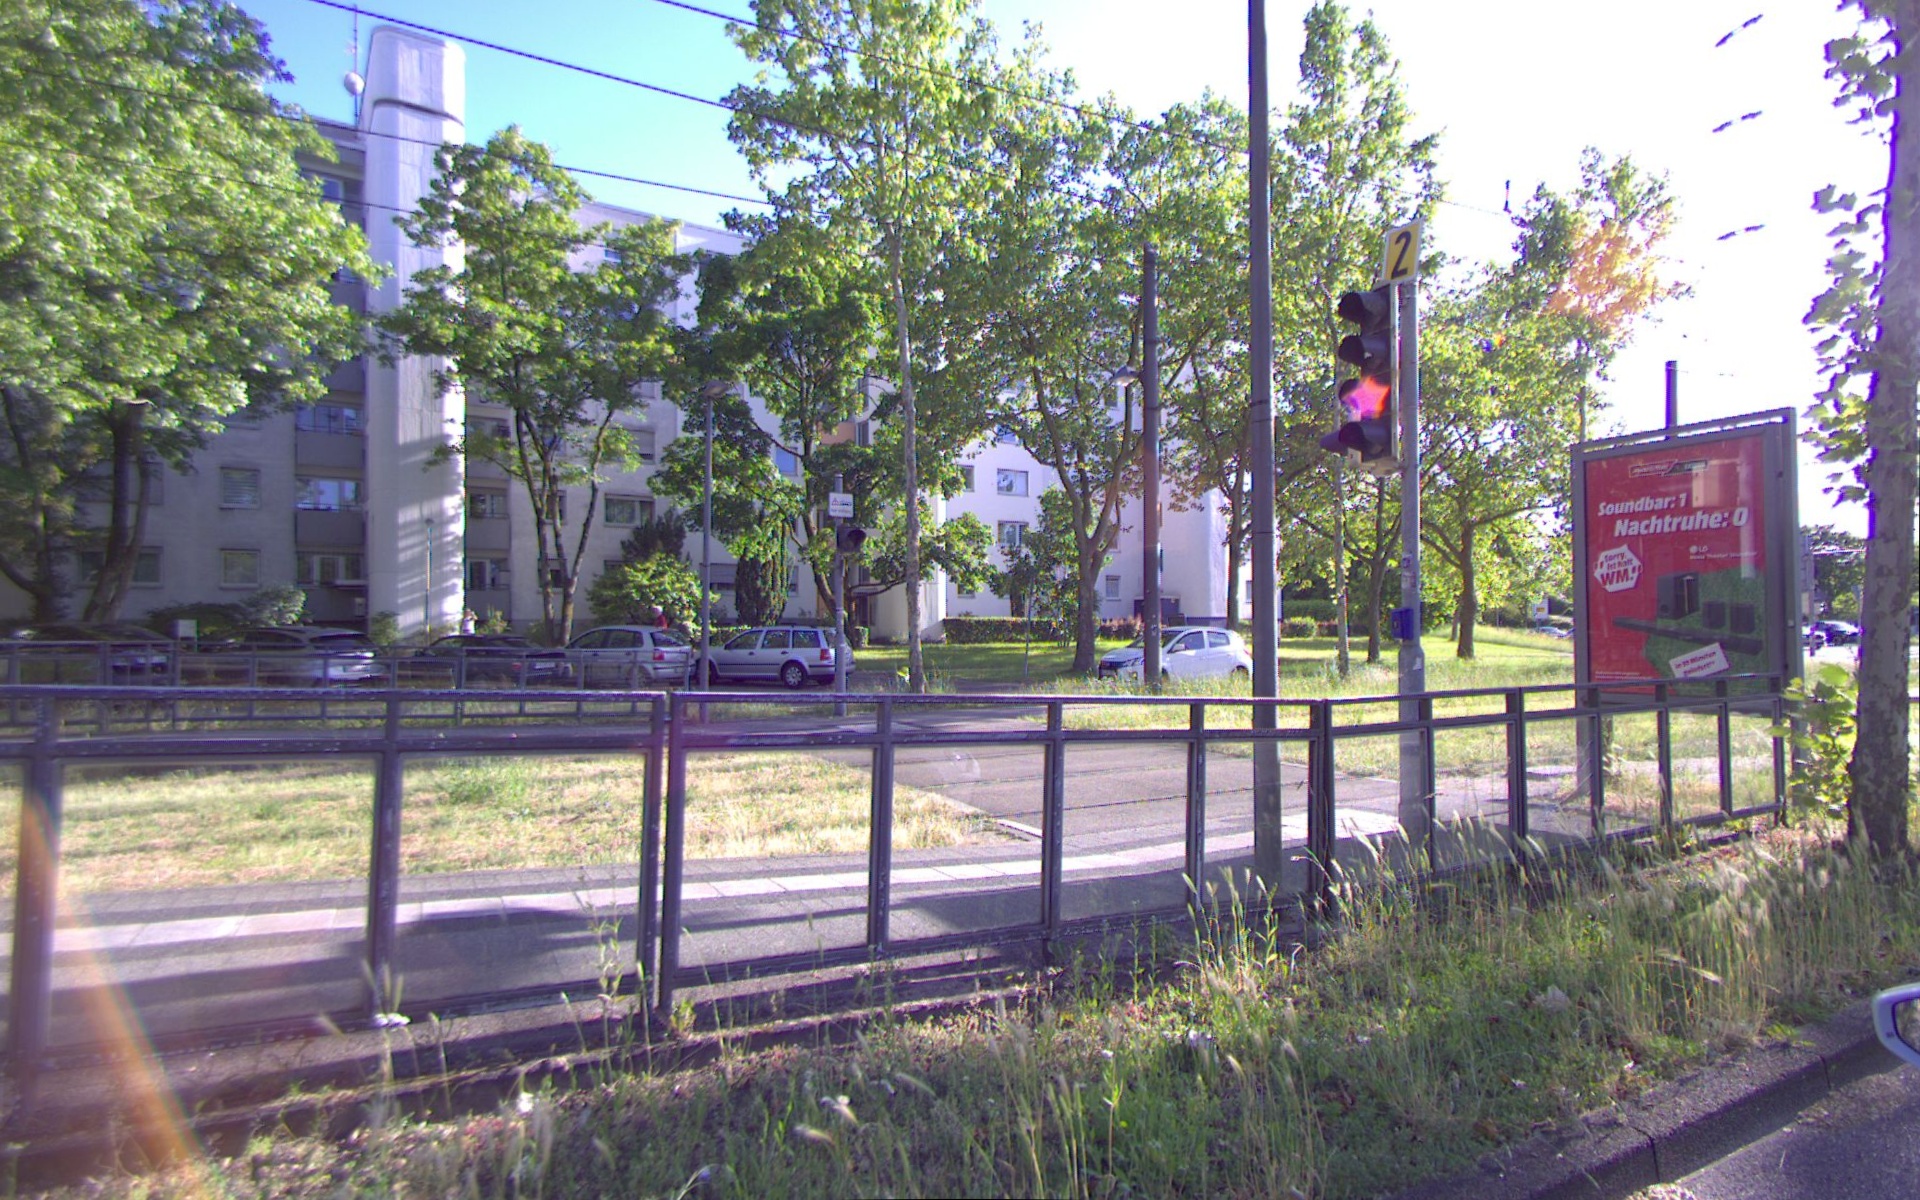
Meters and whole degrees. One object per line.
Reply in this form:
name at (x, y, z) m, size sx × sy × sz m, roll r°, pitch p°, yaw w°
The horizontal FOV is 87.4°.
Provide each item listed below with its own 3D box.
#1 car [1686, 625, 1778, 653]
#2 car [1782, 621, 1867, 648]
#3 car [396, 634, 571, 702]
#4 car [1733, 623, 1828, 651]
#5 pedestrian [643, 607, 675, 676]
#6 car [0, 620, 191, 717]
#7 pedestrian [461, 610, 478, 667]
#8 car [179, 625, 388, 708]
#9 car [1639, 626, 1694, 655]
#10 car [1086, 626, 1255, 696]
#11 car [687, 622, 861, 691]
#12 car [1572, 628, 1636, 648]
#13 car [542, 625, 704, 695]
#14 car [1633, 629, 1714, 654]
car at (48.959, 2.461, 63.831) m, size 1.866 × 1.632 × 4.493 m, roll -2°, pitch -2°, yaw -10°
car at (58.164, 2.318, 67.669) m, size 1.866 × 1.642 × 3.994 m, roll -2°, pitch -2°, yaw -10°
car at (-10.077, 1.393, 21.255) m, size 3.318 × 1.270 × 1.465 m, roll 1°, pitch -1°, yaw 21°
car at (52.370, 2.349, 64.229) m, size 1.866 × 1.632 × 4.493 m, roll -2°, pitch -2°, yaw -10°
pedestrian at (-8.060, 1.108, 26.931) m, size 0.709 × 1.816 × 0.473 m, roll 1°, pitch 0°, yaw -30°
car at (-15.550, 1.167, 17.779) m, size 3.075 × 1.568 × 1.465 m, roll 0°, pitch 0°, yaw 14°
pedestrian at (-15.671, 1.225, 32.089) m, size 0.445 × 1.815 × 0.315 m, roll 1°, pitch -1°, yaw -36°
car at (-13.090, 1.241, 19.494) m, size 3.316 × 1.445 × 1.541 m, roll 1°, pitch -1°, yaw 14°
car at (41.157, 2.319, 58.589) m, size 1.864 × 1.564 × 4.496 m, roll 1°, pitch -1°, yaw 25°
car at (4.850, 1.357, 23.072) m, size 3.674 × 1.469 × 1.624 m, roll 1°, pitch -1°, yaw -30°
car at (-4.531, 1.332, 24.537) m, size 3.843 × 1.496 × 1.632 m, roll 1°, pitch -1°, yaw 19°
car at (48.683, 2.879, 76.012) m, size 1.783 × 1.455 × 4.042 m, roll -2°, pitch -2°, yaw -10°
car at (-7.729, 1.329, 23.072) m, size 3.222 × 1.450 × 1.571 m, roll 1°, pitch 0°, yaw 19°
car at (48.993, 2.841, 69.097) m, size 1.866 × 1.632 × 4.493 m, roll -2°, pitch -2°, yaw -10°
